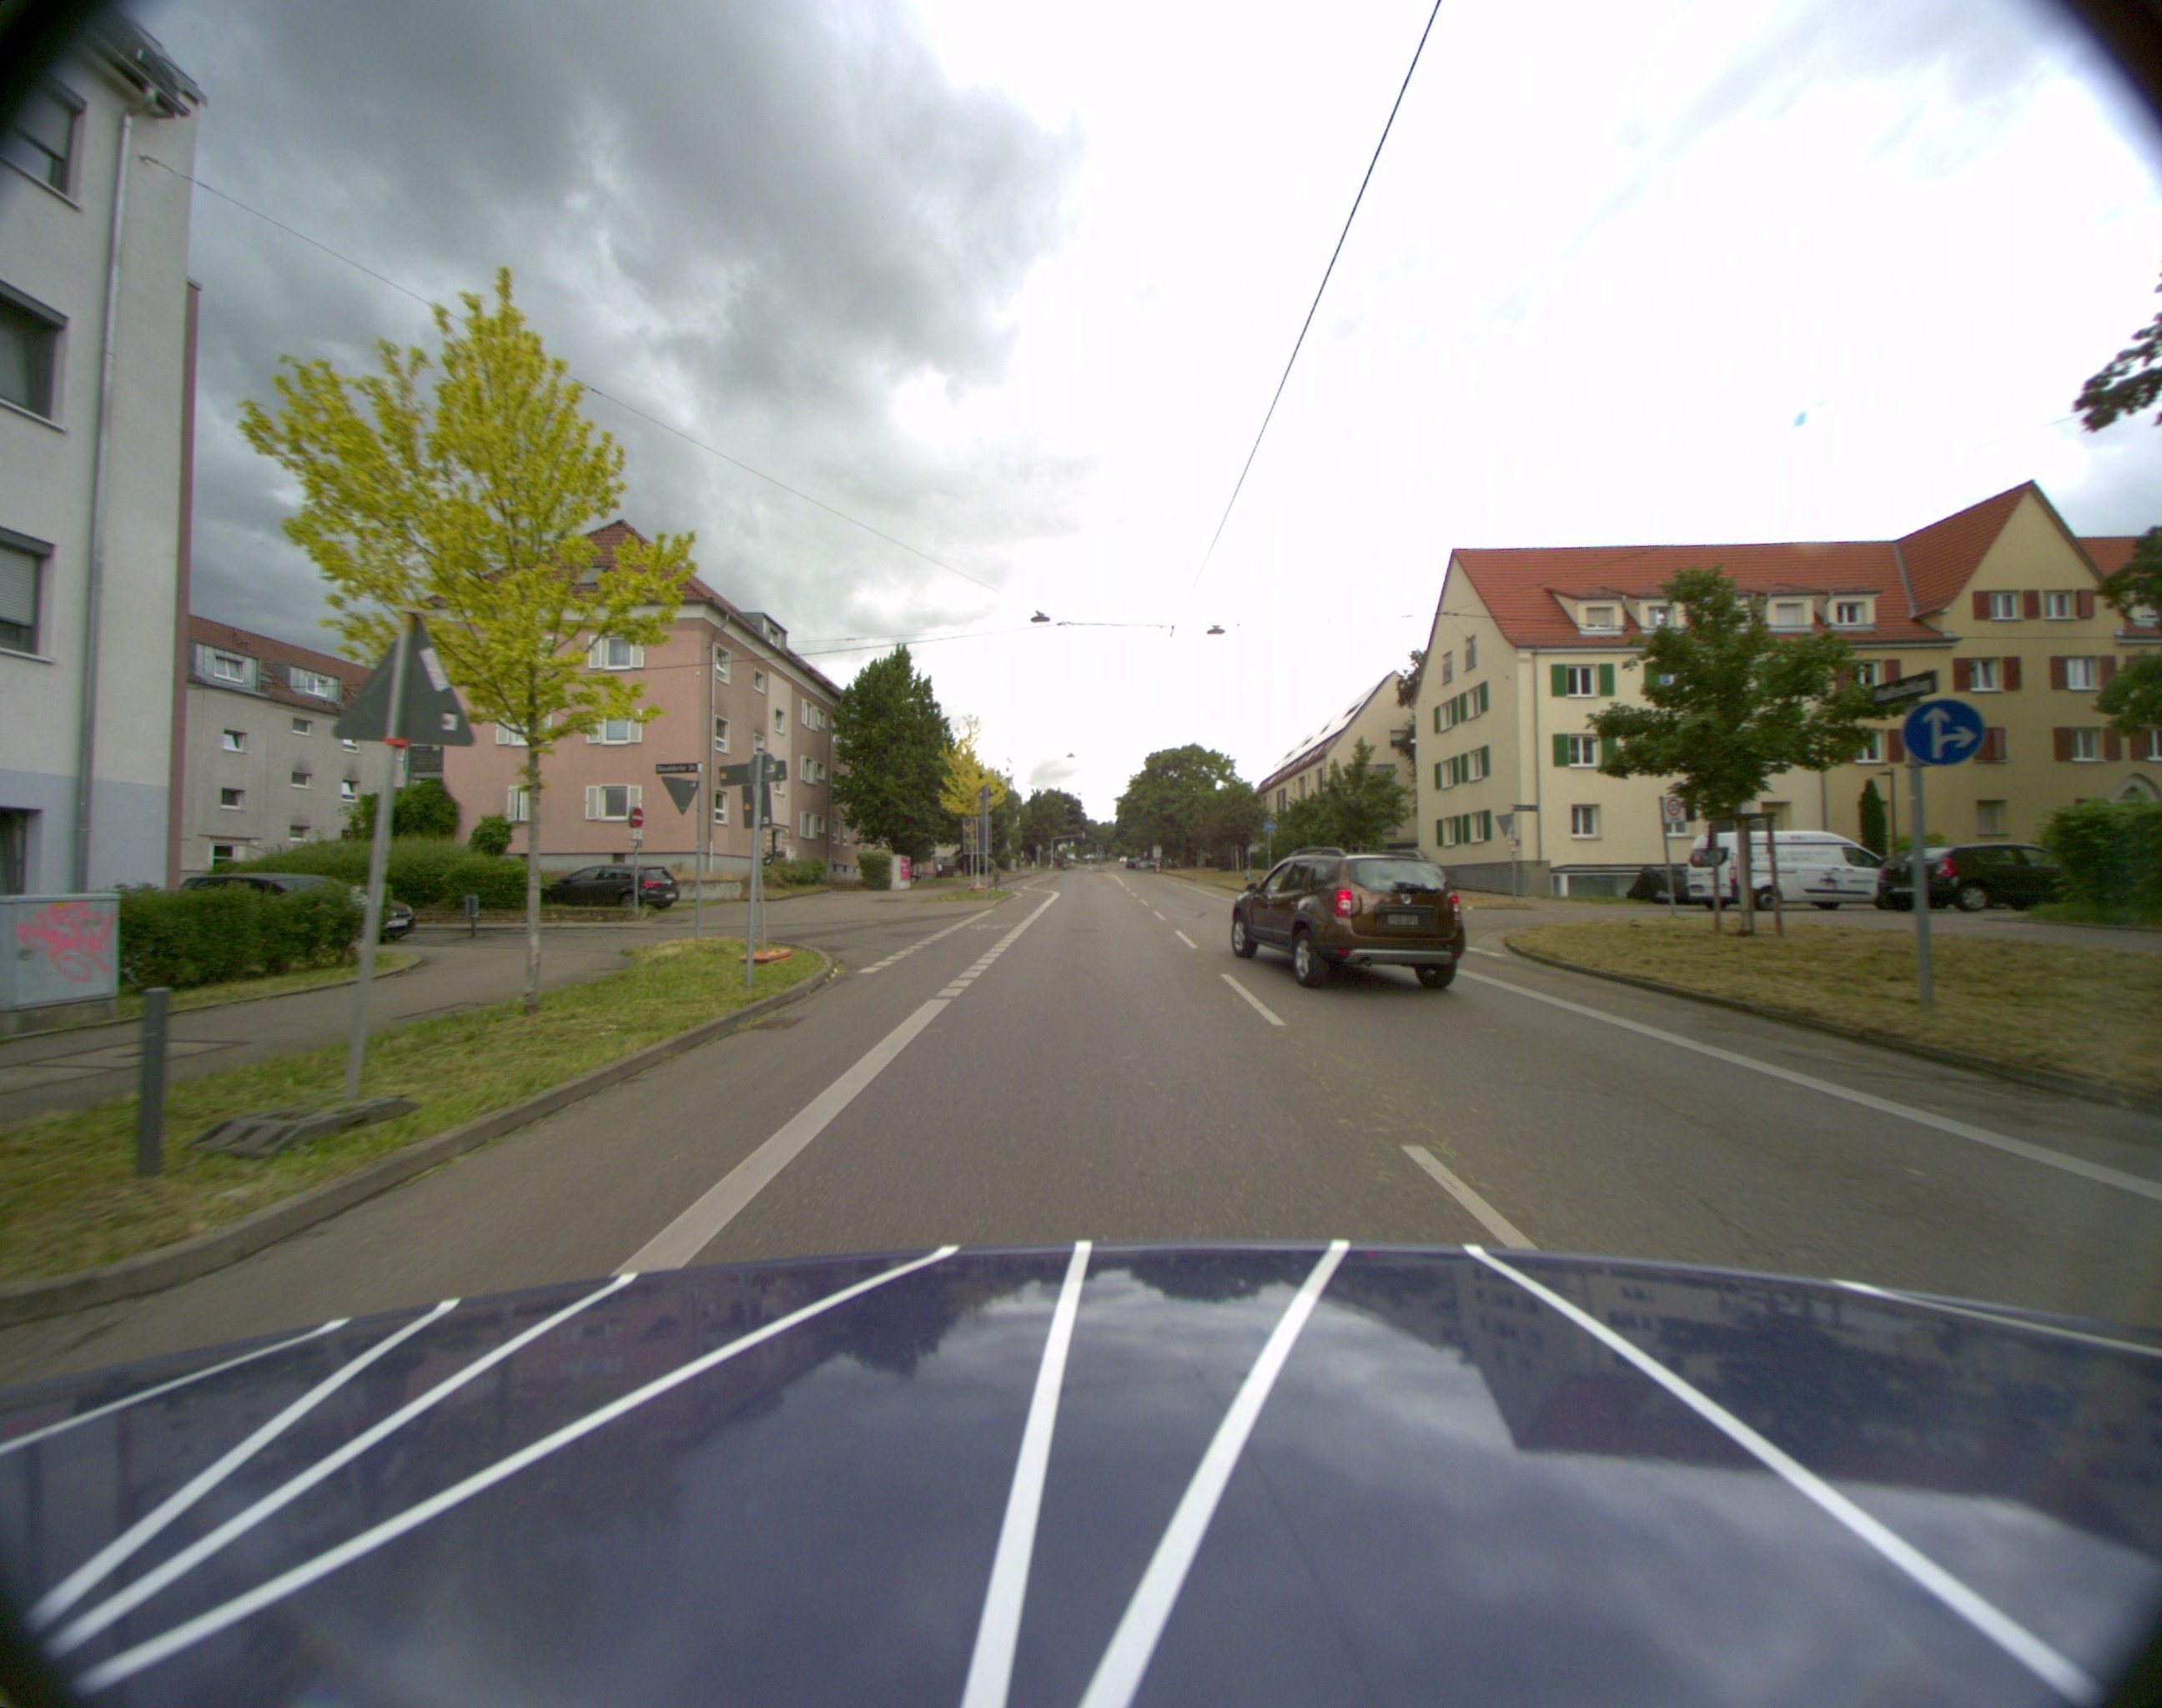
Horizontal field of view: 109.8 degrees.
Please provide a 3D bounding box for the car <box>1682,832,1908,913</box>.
[{"bbox_3d":[20.865,0.523,22.377,4.729,2.240,1.995,-1,1,2],"label":"car"}]

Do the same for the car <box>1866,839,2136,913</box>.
[{"bbox_3d":[20.639,0.526,17.183,3.914,1.520,1.692,-1,-3,1],"label":"car"}]

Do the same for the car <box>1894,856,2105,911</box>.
[{"bbox_3d":[26.596,0.836,22.107,3.826,1.458,1.745,-1,0,4],"label":"car"}]

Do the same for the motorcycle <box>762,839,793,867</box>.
[{"bbox_3d":[-13.707,-0.039,34.373,0.592,1.220,1.967,-1,0,1],"label":"motorcycle"}]

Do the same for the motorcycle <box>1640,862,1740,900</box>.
[{"bbox_3d":[21.049,0.924,26.350,2.599,1.271,1.019,-1,0,34],"label":"motorcycle"}]

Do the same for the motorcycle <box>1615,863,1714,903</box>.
[{"bbox_3d":[19.722,0.952,25.772,2.598,1.271,1.019,0,1,34],"label":"motorcycle"}]

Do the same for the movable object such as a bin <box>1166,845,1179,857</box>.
[{"bbox_3d":[14.685,-0.446,122.060,1.099,1.892,3.247,-1,0,-13],"label":"movable object such as a bin"}]

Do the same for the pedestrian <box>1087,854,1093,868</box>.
[{"bbox_3d":[1.150,0.900,93.020,0.658,1.674,0.575,2,-2,2],"label":"pedestrian"}]

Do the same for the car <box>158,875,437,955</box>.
[{"bbox_3d":[-16.004,1.211,15.657,3.996,1.447,1.760,-1,0,3],"label":"car"}]

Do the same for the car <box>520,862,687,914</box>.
[{"bbox_3d":[-14.452,1.001,23.154,3.996,1.445,1.688,0,2,1],"label":"car"}]

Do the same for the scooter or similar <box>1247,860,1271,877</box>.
[{"bbox_3d":[11.239,0.914,47.928,1.374,1.080,0.466,0,0,-3],"label":"scooter or similar"}]

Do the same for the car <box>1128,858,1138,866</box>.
[{"bbox_3d":[11.042,1.734,161.802,1.997,1.674,4.002,-1,0,7],"label":"car"}]

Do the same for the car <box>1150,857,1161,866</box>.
[{"bbox_3d":[14.775,1.446,151.034,1.860,1.596,4.001,-1,0,2],"label":"car"}]

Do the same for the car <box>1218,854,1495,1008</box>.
[{"bbox_3d":[3.375,0.823,10.360,1.905,1.610,4.359,-1,0,-5],"label":"car"}]
